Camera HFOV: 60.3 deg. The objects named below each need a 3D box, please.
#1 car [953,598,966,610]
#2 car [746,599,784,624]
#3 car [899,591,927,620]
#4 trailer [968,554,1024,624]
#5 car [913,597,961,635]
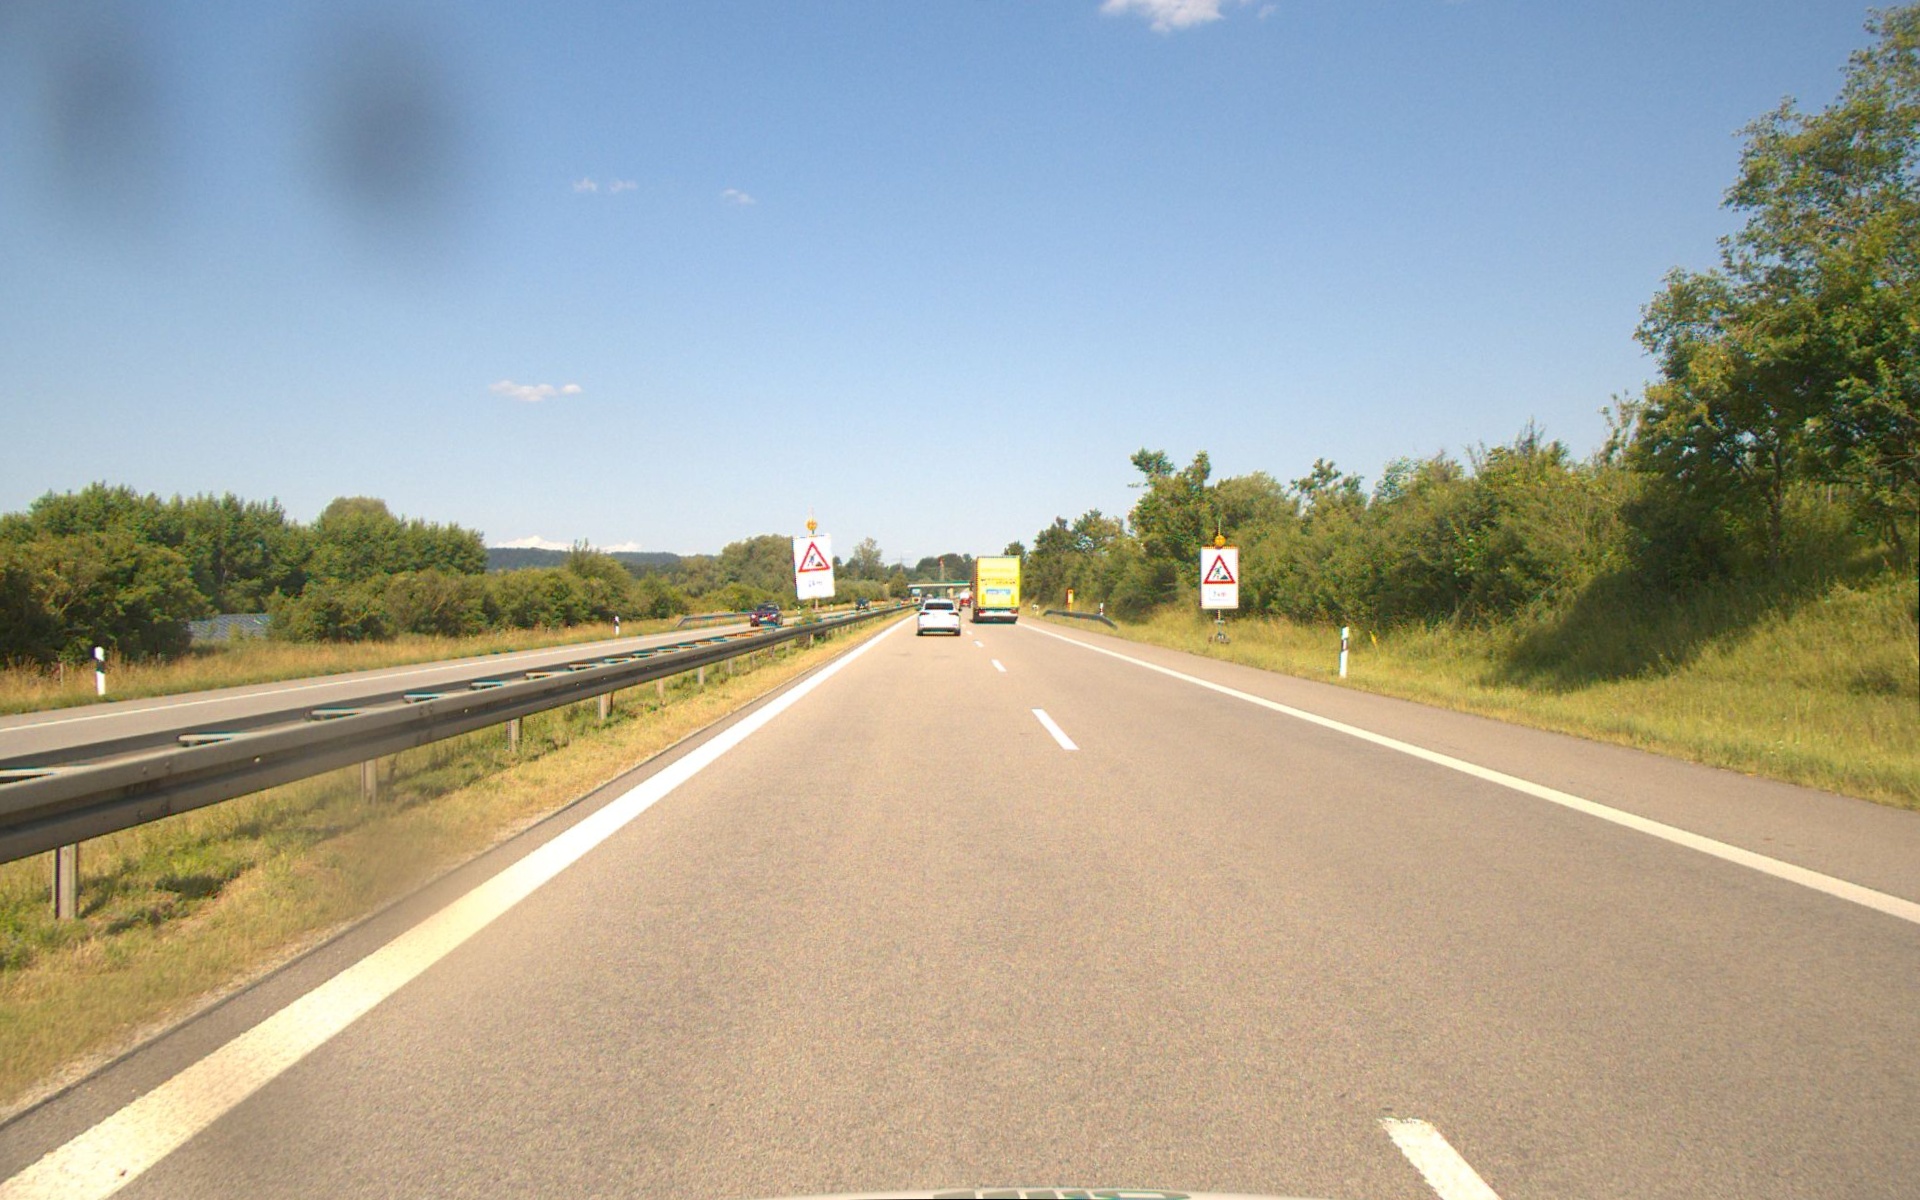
[{"bbox_3d":[-0.064,0.662,256.840,1.863,1.712,4.730,2,0,-1],"label":"car"},{"bbox_3d":[-12.140,0.680,103.241,1.795,1.422,4.921,-3,0,-1],"label":"car"},{"bbox_3d":[-3.381,0.416,120.080,1.953,2.049,3.999,1,0,-1],"label":"car"},{"bbox_3d":[2.195,-0.615,105.573,3.119,4.130,13.185,1,0,0],"label":"trailer"},{"bbox_3d":[-0.897,0.639,67.019,1.805,1.440,4.000,1,0,0],"label":"car"}]
